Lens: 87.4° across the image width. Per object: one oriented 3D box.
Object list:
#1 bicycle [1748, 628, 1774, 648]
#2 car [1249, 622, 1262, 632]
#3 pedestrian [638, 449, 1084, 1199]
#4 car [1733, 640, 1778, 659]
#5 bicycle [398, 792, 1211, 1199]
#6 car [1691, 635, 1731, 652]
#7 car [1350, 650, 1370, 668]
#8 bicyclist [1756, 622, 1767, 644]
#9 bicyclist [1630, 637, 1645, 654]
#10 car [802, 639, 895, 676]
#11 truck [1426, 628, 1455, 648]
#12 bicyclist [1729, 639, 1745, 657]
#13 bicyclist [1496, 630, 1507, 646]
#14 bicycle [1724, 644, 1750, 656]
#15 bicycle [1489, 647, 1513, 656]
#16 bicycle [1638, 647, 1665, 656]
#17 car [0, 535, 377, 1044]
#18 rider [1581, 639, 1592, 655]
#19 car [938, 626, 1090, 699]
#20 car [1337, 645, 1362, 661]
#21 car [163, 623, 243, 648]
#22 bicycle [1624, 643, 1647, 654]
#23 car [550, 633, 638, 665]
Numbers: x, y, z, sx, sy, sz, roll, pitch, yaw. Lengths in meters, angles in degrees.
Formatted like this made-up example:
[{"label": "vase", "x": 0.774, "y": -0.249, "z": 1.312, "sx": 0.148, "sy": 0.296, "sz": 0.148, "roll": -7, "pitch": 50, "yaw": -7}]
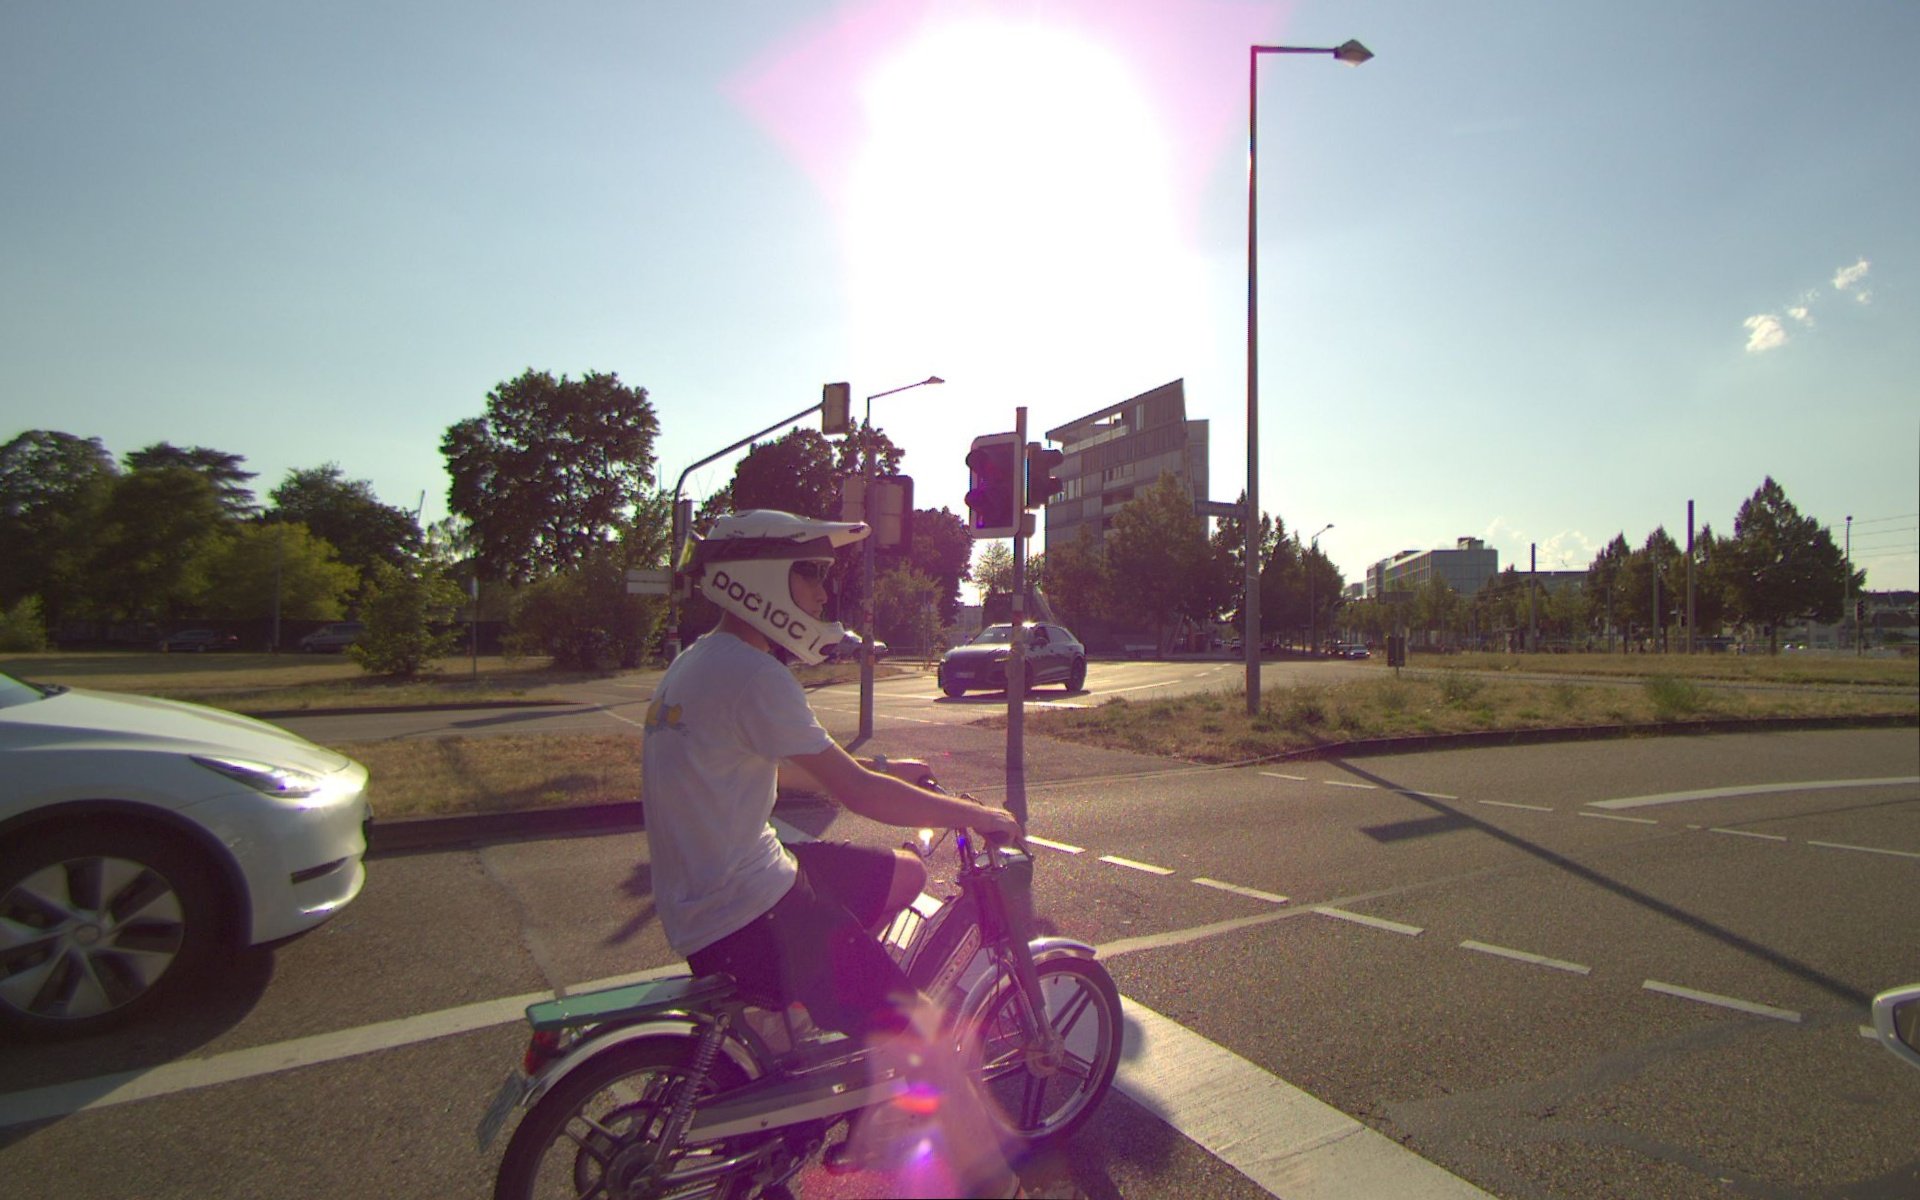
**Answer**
[{"label": "bicycle", "x": 62.345, "y": 2.954, "z": 78.227, "sx": 1.518, "sy": 1.493, "sz": 0.478, "roll": -1, "pitch": -2, "yaw": 33}, {"label": "car", "x": 47.051, "y": 4.309, "z": 160.153, "sx": 1.753, "sy": 1.576, "sz": 4.002, "roll": 2, "pitch": 0, "yaw": 14}, {"label": "pedestrian", "x": -0.243, "y": 0.504, "z": 2.354, "sx": 0.844, "sy": 1.539, "sz": 0.653, "roll": 1, "pitch": -2, "yaw": -30}, {"label": "car", "x": 87.802, "y": 5.453, "z": 110.950, "sx": 1.960, "sy": 2.040, "sz": 4.002, "roll": 0, "pitch": -2, "yaw": 5}, {"label": "bicycle", "x": -0.255, "y": 0.996, "z": 2.343, "sx": 1.834, "sy": 0.887, "sz": 0.475, "roll": 1, "pitch": -2, "yaw": -31}, {"label": "car", "x": 89.010, "y": 5.153, "z": 119.101, "sx": 1.960, "sy": 2.040, "sz": 4.002, "roll": 0, "pitch": -2, "yaw": 5}, {"label": "car", "x": 36.595, "y": 5.401, "z": 91.938, "sx": 1.455, "sy": 1.495, "sz": 3.301, "roll": 0, "pitch": -2, "yaw": 17}, {"label": "bicyclist", "x": 62.375, "y": 2.601, "z": 78.172, "sx": 0.598, "sy": 1.694, "sz": 0.477, "roll": 0, "pitch": -2, "yaw": 32}, {"label": "bicyclist", "x": 55.347, "y": 3.704, "z": 82.056, "sx": 0.941, "sy": 1.375, "sz": 0.691, "roll": -1, "pitch": -2, "yaw": 34}, {"label": "car", "x": -5.399, "y": 2.762, "z": 48.661, "sx": 4.115, "sy": 1.695, "sz": 1.777, "roll": 0, "pitch": -2, "yaw": 16}, {"label": "truck", "x": 82.423, "y": 6.533, "z": 172.487, "sx": 3.074, "sy": 3.273, "sz": 7.178, "roll": 0, "pitch": -2, "yaw": 14}, {"label": "bicyclist", "x": 60.011, "y": 3.689, "z": 77.561, "sx": 0.941, "sy": 1.375, "sz": 0.691, "roll": -1, "pitch": -2, "yaw": 34}, {"label": "bicyclist", "x": 45.259, "y": 3.152, "z": 83.947, "sx": 0.641, "sy": 1.343, "sz": 0.519, "roll": 0, "pitch": -1, "yaw": 14}, {"label": "bicycle", "x": 59.995, "y": 3.857, "z": 77.567, "sx": 1.592, "sy": 0.871, "sz": 0.543, "roll": -1, "pitch": -2, "yaw": 35}, {"label": "bicycle", "x": 45.241, "y": 4.316, "z": 83.950, "sx": 1.687, "sy": 0.754, "sz": 0.481, "roll": 0, "pitch": -2, "yaw": 14}, {"label": "bicycle", "x": 55.327, "y": 4.121, "z": 80.347, "sx": 1.687, "sy": 0.754, "sz": 0.481, "roll": 0, "pitch": -2, "yaw": 14}, {"label": "car", "x": -4.591, "y": 0.574, "z": 3.176, "sx": 4.630, "sy": 1.620, "sz": 1.724, "roll": 2, "pitch": -1, "yaw": -35}, {"label": "rider", "x": 54.093, "y": 4.040, "z": 86.679, "sx": 0.641, "sy": 1.343, "sz": 0.688, "roll": 0, "pitch": -2, "yaw": 18}, {"label": "car", "x": 1.382, "y": 1.412, "z": 23.569, "sx": 1.624, "sy": 1.532, "sz": 4.635, "roll": -2, "pitch": -3, "yaw": 30}, {"label": "car", "x": 38.358, "y": 5.218, "z": 99.059, "sx": 1.960, "sy": 1.495, "sz": 4.002, "roll": 0, "pitch": -2, "yaw": 17}, {"label": "car", "x": -48.104, "y": 2.253, "z": 63.880, "sx": 4.312, "sy": 1.545, "sz": 1.657, "roll": 0, "pitch": -2, "yaw": 13}, {"label": "bicycle", "x": 55.229, "y": 3.975, "z": 82.143, "sx": 1.592, "sy": 0.871, "sz": 0.543, "roll": -1, "pitch": -2, "yaw": 35}, {"label": "car", "x": -18.578, "y": 2.470, "z": 51.031, "sx": 3.863, "sy": 1.545, "sz": 1.658, "roll": 0, "pitch": -2, "yaw": 12}]
